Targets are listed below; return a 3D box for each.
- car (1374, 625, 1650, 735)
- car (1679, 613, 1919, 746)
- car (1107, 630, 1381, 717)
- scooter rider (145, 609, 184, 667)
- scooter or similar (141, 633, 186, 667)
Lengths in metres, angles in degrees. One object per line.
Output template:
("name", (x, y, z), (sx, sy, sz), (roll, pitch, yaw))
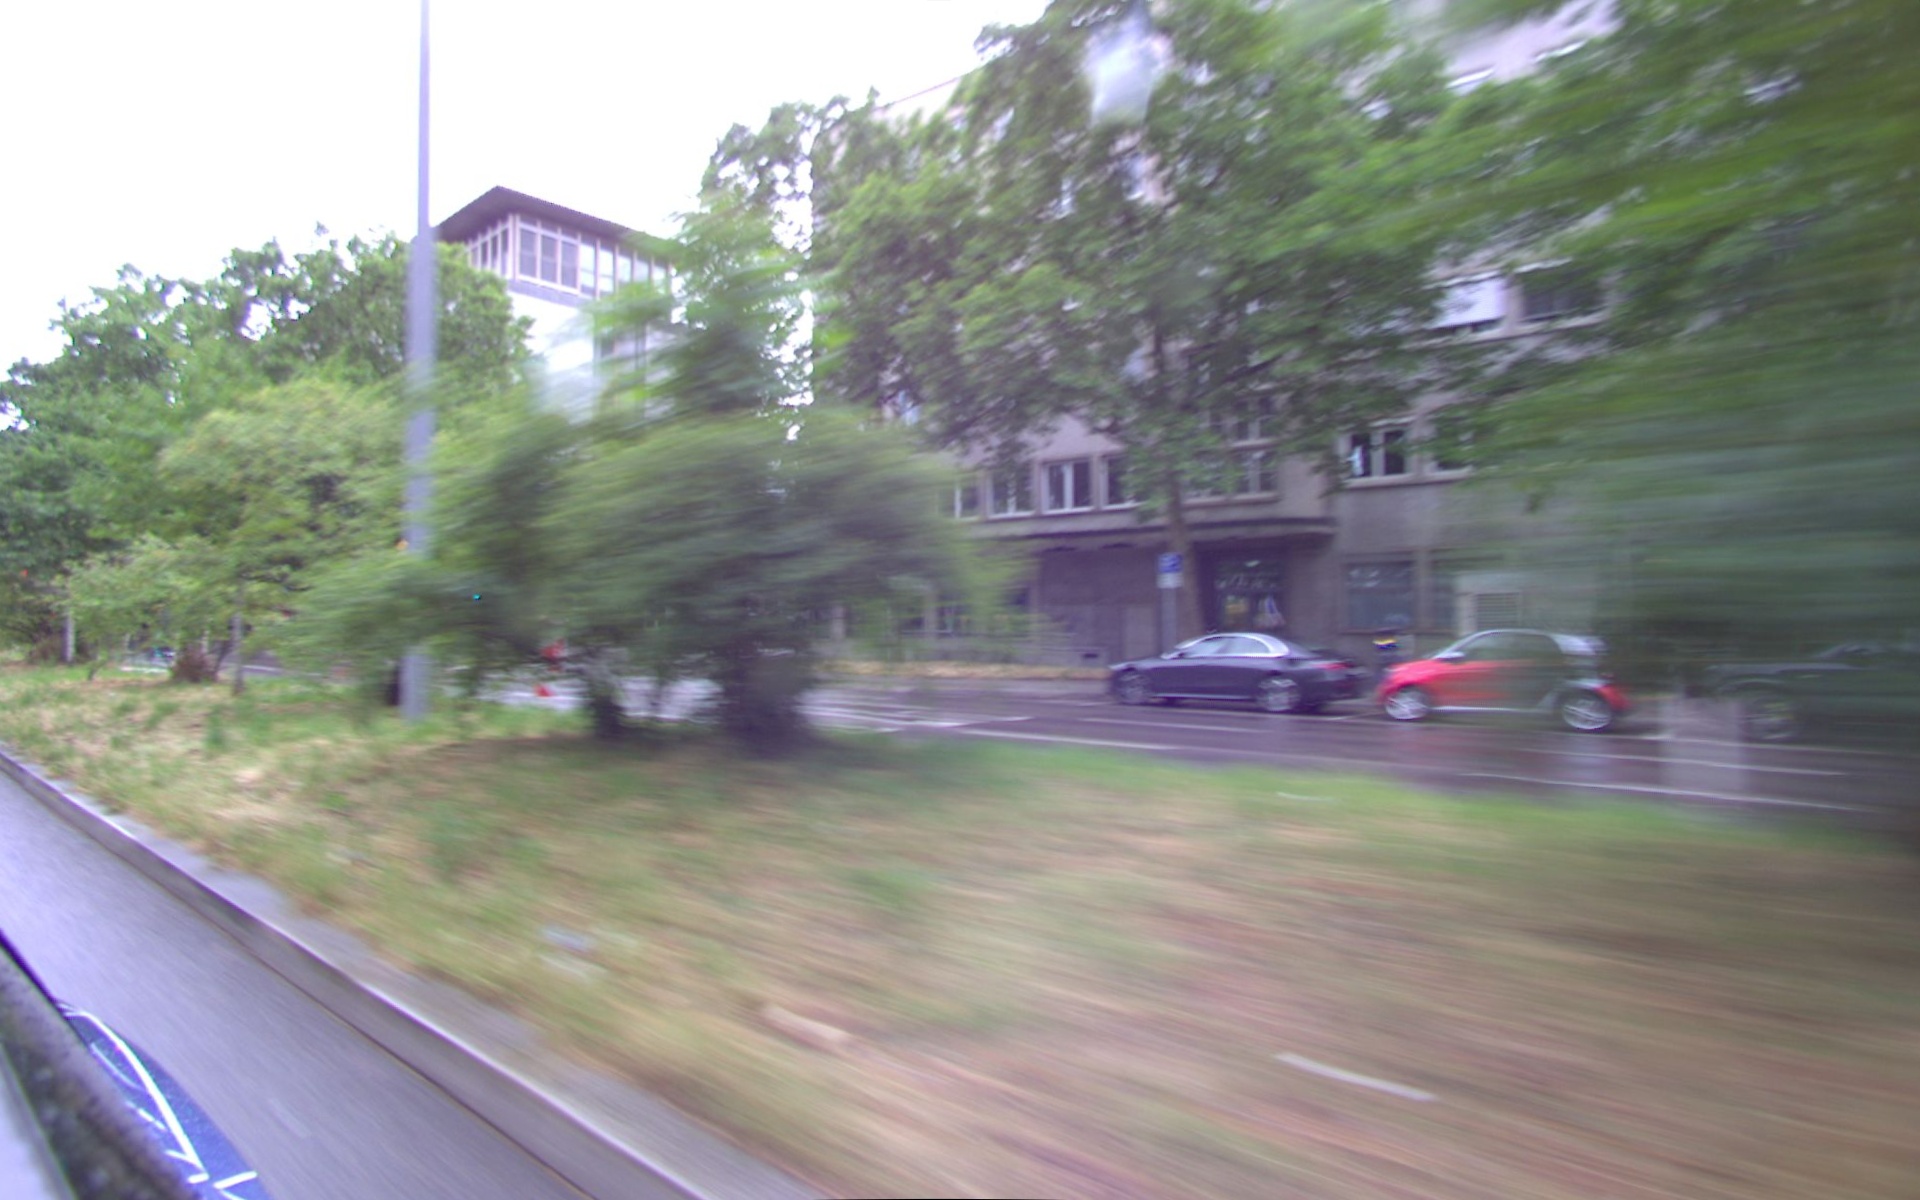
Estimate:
("car", (8.660, 1.206, 15.999), (3.620, 1.531, 1.671), (-1, -4, 38))
("car", (12.559, 1.055, 13.407), (4.837, 1.665, 1.751), (-1, -5, 39))
("car", (5.253, 1.335, 19.073), (4.667, 1.446, 1.750), (-1, -5, 39))
("scooter rider", (-27.399, 1.300, 34.859), (0.756, 1.955, 0.891), (-1, -1, 39))
("scooter or similar", (-27.431, 1.715, 34.856), (0.434, 1.122, 1.170), (-1, -1, 38))
